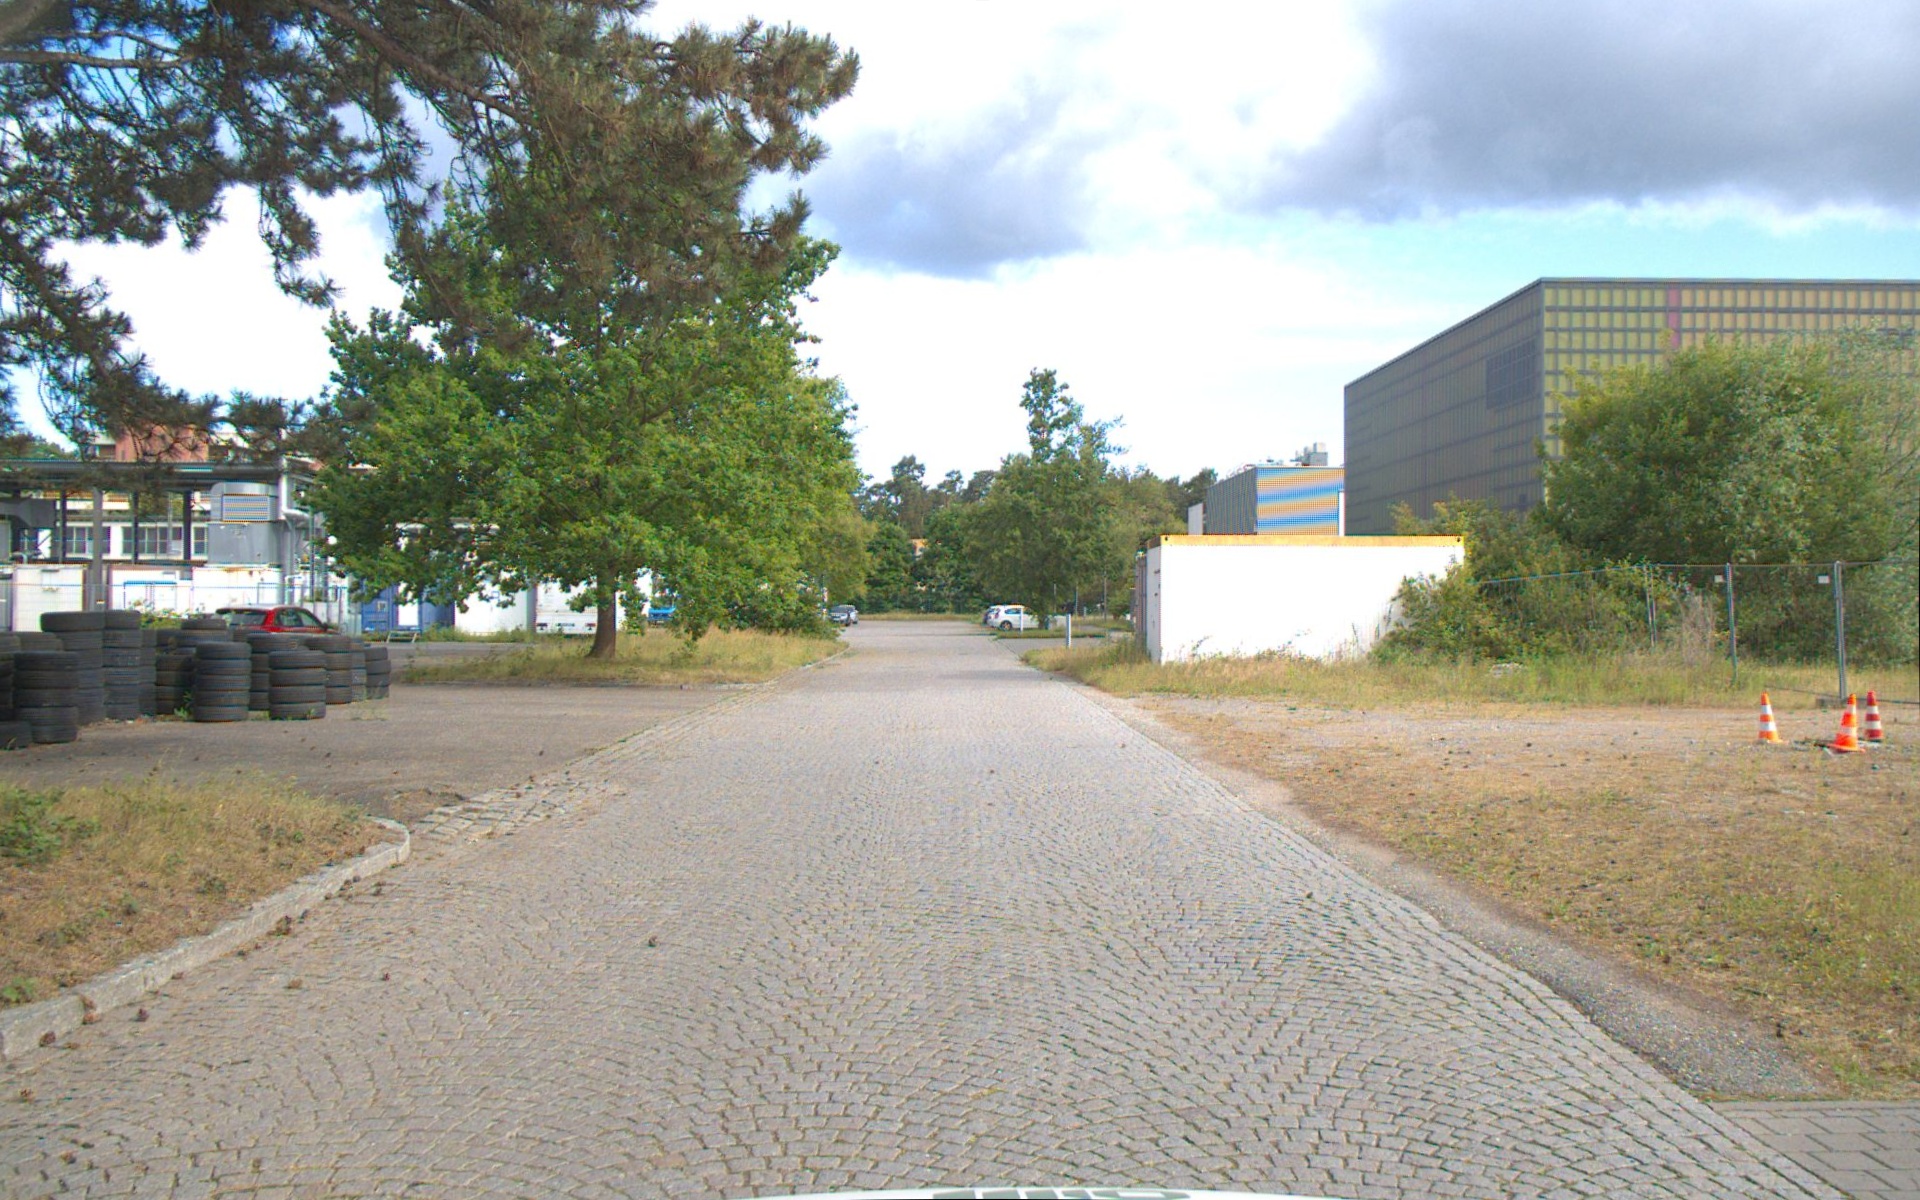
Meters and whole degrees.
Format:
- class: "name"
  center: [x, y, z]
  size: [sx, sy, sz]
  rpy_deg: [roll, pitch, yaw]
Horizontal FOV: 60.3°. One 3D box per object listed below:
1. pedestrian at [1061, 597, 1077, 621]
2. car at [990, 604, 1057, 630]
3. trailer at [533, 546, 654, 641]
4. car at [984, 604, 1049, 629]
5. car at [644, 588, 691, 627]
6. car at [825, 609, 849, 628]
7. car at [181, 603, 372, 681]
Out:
- class: "pedestrian"
  center: [7.279, 0.601, 110.574]
  size: [0.921, 1.596, 0.970]
  rpy_deg: [0, 0, -3]
- class: "car"
  center: [3.770, 1.021, 99.089]
  size: [3.906, 1.481, 1.999]
  rpy_deg: [0, -1, -1]
- class: "trailer"
  center: [-15.638, -0.249, 71.464]
  size: [2.601, 3.770, 10.723]
  rpy_deg: [0, 0, 1]
- class: "car"
  center: [3.444, 1.008, 101.251]
  size: [3.906, 1.481, 1.697]
  rpy_deg: [0, 0, -1]
- class: "car"
  center: [-19.601, 0.520, 111.004]
  size: [1.952, 2.567, 5.619]
  rpy_deg: [0, 0, 2]
- class: "car"
  center: [-9.119, 1.341, 122.799]
  size: [1.714, 1.388, 3.997]
  rpy_deg: [0, 0, -3]
- class: "car"
  center: [-13.597, 0.789, 33.163]
  size: [1.785, 1.457, 4.221]
  rpy_deg: [0, 0, 5]
